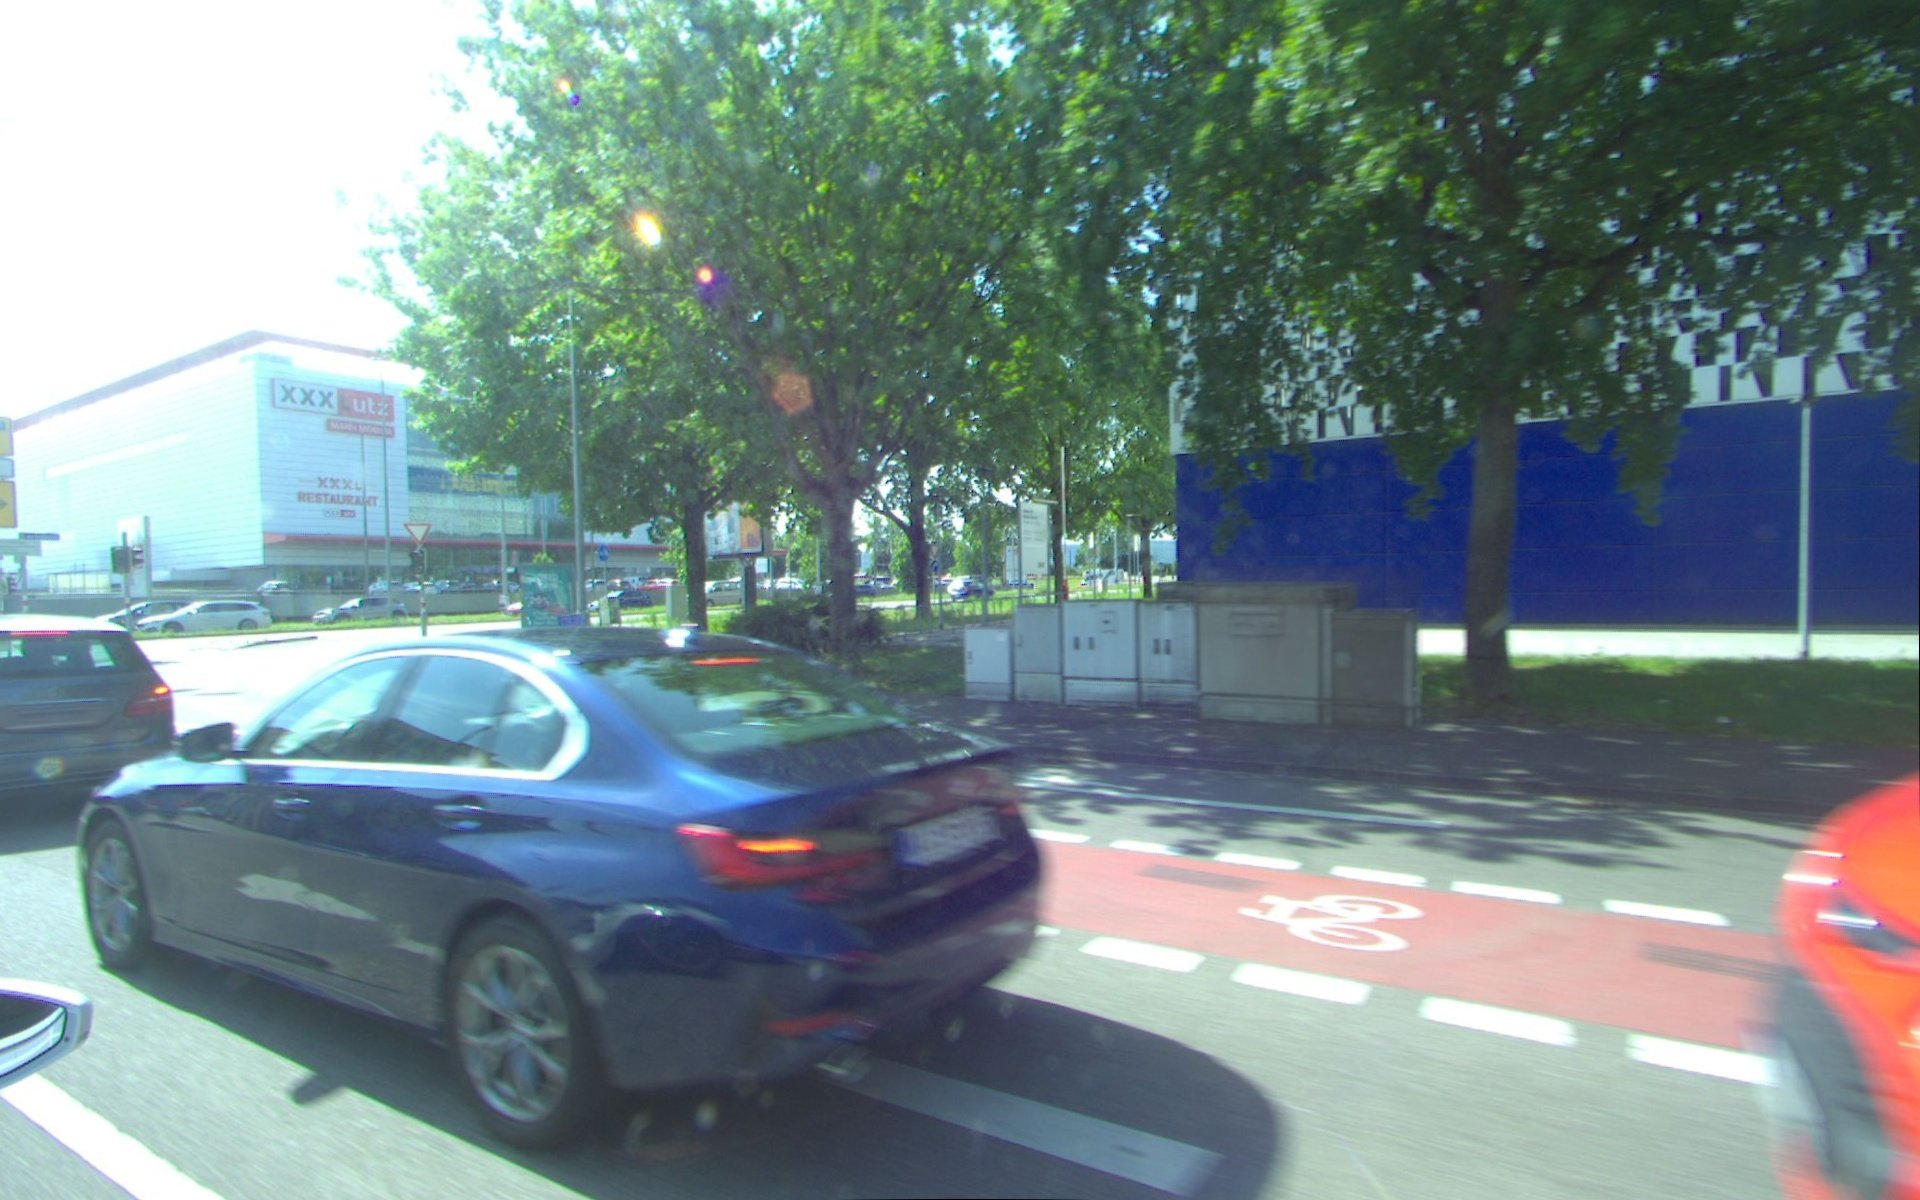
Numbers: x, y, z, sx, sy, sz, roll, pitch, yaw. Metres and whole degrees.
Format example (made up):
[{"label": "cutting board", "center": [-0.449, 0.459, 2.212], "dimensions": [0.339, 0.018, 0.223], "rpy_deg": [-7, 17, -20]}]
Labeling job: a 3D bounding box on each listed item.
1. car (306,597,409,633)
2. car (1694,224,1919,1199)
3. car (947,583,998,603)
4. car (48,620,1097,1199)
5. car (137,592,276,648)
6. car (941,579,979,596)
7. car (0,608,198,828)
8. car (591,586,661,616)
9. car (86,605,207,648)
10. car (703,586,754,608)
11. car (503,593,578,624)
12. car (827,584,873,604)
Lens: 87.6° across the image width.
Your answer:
[{"label": "car", "center": [-30.100, 0.721, 50.104], "dimensions": [1.462, 1.540, 4.115], "rpy_deg": [0, 3, 36]}, {"label": "car", "center": [3.786, 0.527, 0.752], "dimensions": [5.051, 1.993, 1.964], "rpy_deg": [0, 0, 32]}, {"label": "car", "center": [0.913, -0.515, 72.095], "dimensions": [1.678, 1.266, 3.754], "rpy_deg": [0, 3, 39]}, {"label": "car", "center": [-1.816, 0.834, 4.115], "dimensions": [4.411, 1.477, 1.743], "rpy_deg": [0, 0, 32]}, {"label": "car", "center": [-32.064, 0.794, 42.727], "dimensions": [1.461, 2.022, 4.383], "rpy_deg": [0, 3, 36]}, {"label": "car", "center": [0.018, -1.182, 93.822], "dimensions": [1.462, 1.408, 4.016], "rpy_deg": [0, 3, 36]}, {"label": "car", "center": [-8.248, 0.843, 8.330], "dimensions": [4.019, 1.536, 1.743], "rpy_deg": [0, 0, 32]}, {"label": "car", "center": [-19.812, 0.025, 59.500], "dimensions": [1.462, 1.540, 3.757], "rpy_deg": [0, 3, 36]}, {"label": "car", "center": [-35.251, 1.113, 43.479], "dimensions": [1.462, 1.540, 3.757], "rpy_deg": [0, 3, 36]}, {"label": "car", "center": [-15.969, -0.212, 69.151], "dimensions": [1.288, 1.285, 3.279], "rpy_deg": [0, 4, 39]}, {"label": "car", "center": [-24.294, 0.467, 58.107], "dimensions": [1.462, 1.540, 3.757], "rpy_deg": [0, 3, 36]}, {"label": "car", "center": [-8.694, -0.479, 79.317], "dimensions": [1.462, 1.303, 3.757], "rpy_deg": [0, 3, 36]}]
